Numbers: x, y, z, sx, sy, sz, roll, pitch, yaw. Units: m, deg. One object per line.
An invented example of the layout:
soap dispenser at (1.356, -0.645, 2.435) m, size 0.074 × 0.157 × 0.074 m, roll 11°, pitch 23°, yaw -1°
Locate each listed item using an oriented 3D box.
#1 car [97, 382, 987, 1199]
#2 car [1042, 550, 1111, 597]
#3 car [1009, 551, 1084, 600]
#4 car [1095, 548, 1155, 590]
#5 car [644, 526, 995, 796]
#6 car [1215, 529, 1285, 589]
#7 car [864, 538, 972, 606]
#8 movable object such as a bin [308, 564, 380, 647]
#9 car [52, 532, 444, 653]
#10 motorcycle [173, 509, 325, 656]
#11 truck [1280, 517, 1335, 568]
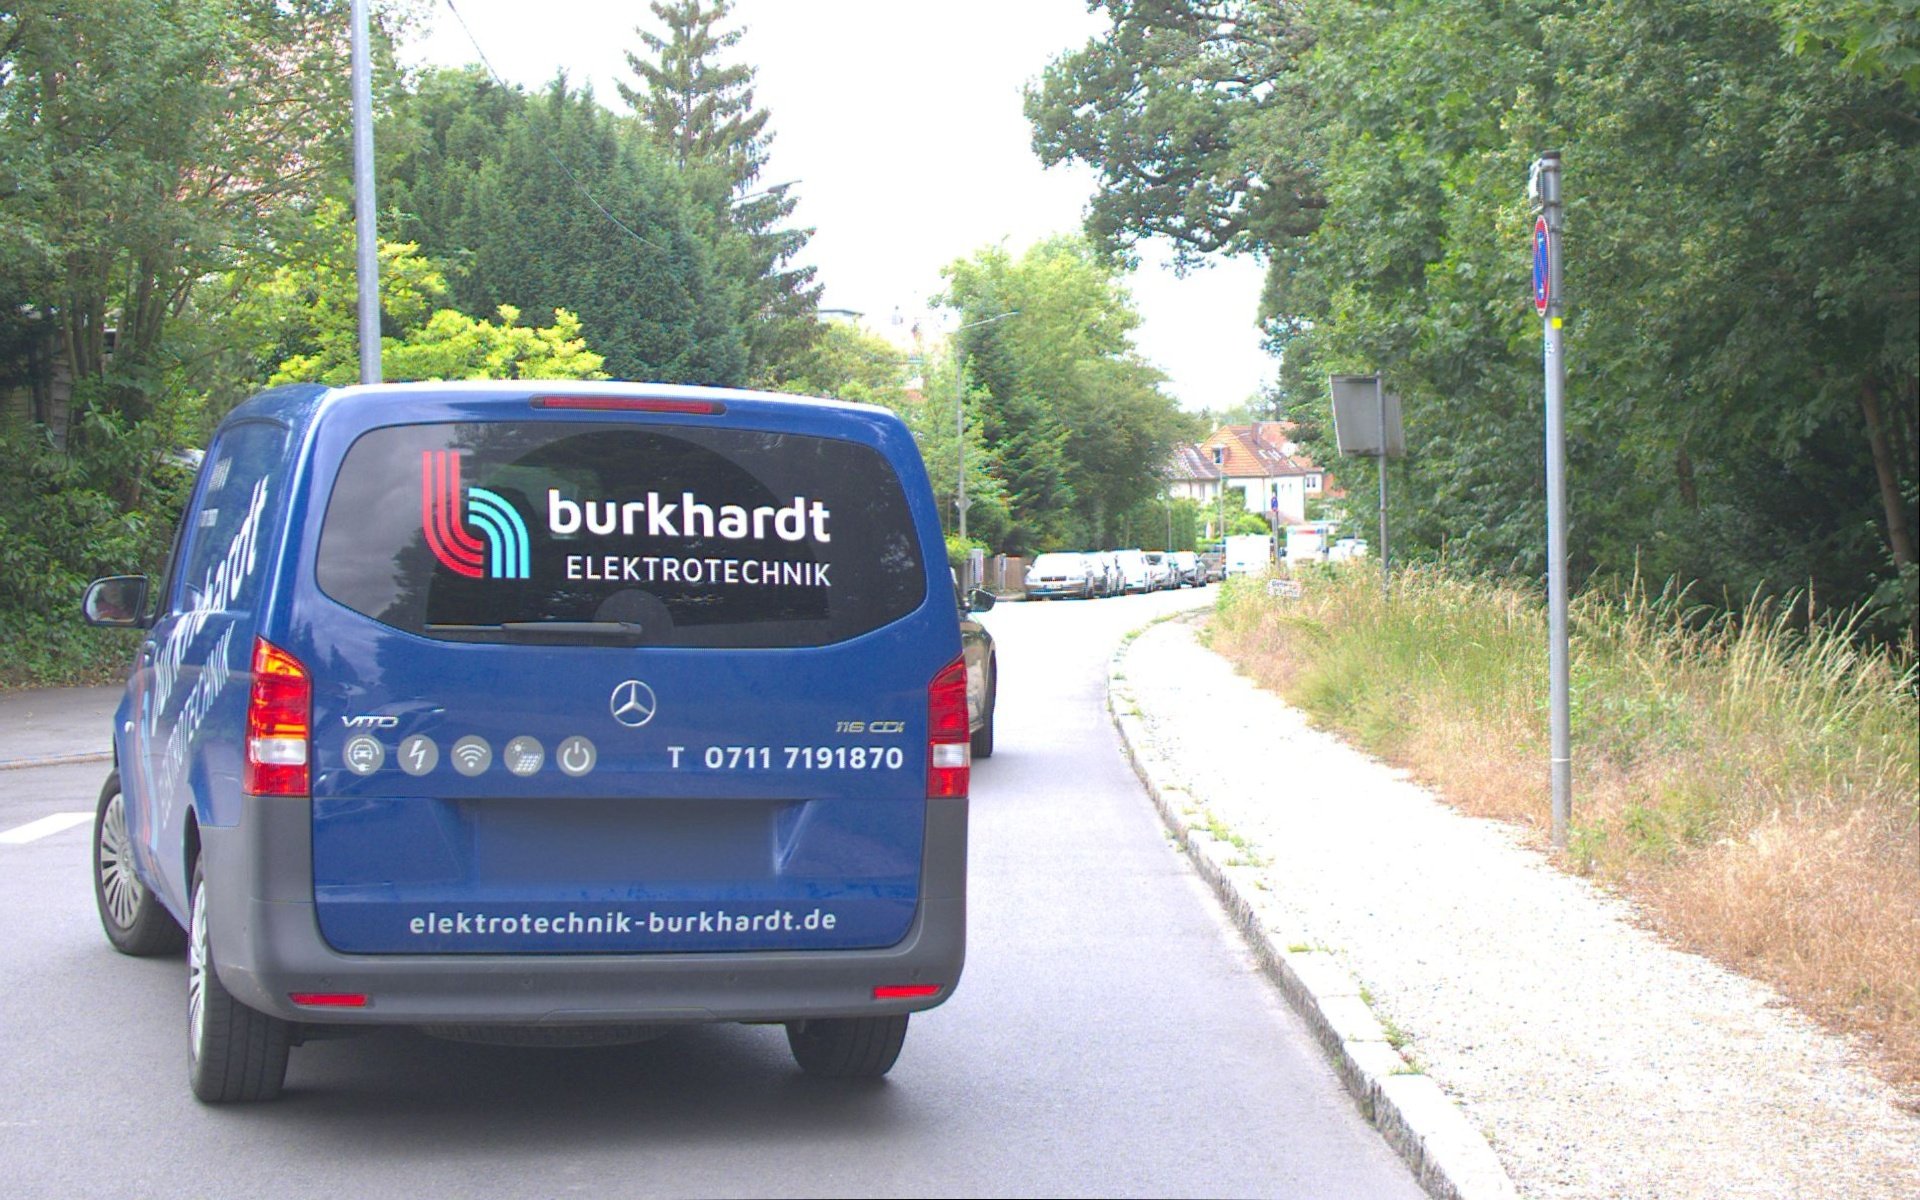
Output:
car at (-1.493, 0.375, 10.217) m, size 1.936 × 1.873 × 4.532 m, roll 0°, pitch 2°, yaw -16°
car at (3.670, -0.846, 108.012) m, size 1.749 × 1.400 × 3.999 m, roll 1°, pitch 1°, yaw 8°
car at (2.584, -0.750, 101.918) m, size 1.749 × 1.400 × 3.999 m, roll 1°, pitch 1°, yaw 8°
car at (5.821, -1.102, 120.702) m, size 1.749 × 1.400 × 3.999 m, roll 1°, pitch 1°, yaw 8°
car at (-0.745, 0.296, 20.736) m, size 1.735 × 1.442 × 4.180 m, roll 1°, pitch 1°, yaw 3°
car at (10.206, -1.469, 120.641) m, size 2.206 × 2.056 × 6.133 m, roll 0°, pitch 1°, yaw 7°
car at (-0.878, -0.616, 74.088) m, size 1.749 × 1.400 × 3.999 m, roll 1°, pitch 1°, yaw 8°
movable object such as a bin at (-6.877, 0.061, 38.374) m, size 0.591 × 0.906 × 0.700 m, roll 1°, pitch 1°, yaw 8°
car at (-8.948, -0.112, 43.378) m, size 4.482 × 1.436 × 1.878 m, roll 1°, pitch 1°, yaw 5°
motorcycle at (-7.471, -0.206, 36.297) m, size 0.810 × 1.480 × 2.895 m, roll 1°, pitch 1°, yaw 4°
truck at (19.559, -3.276, 193.027) m, size 2.764 × 2.784 × 9.266 m, roll 0°, pitch 1°, yaw 8°
